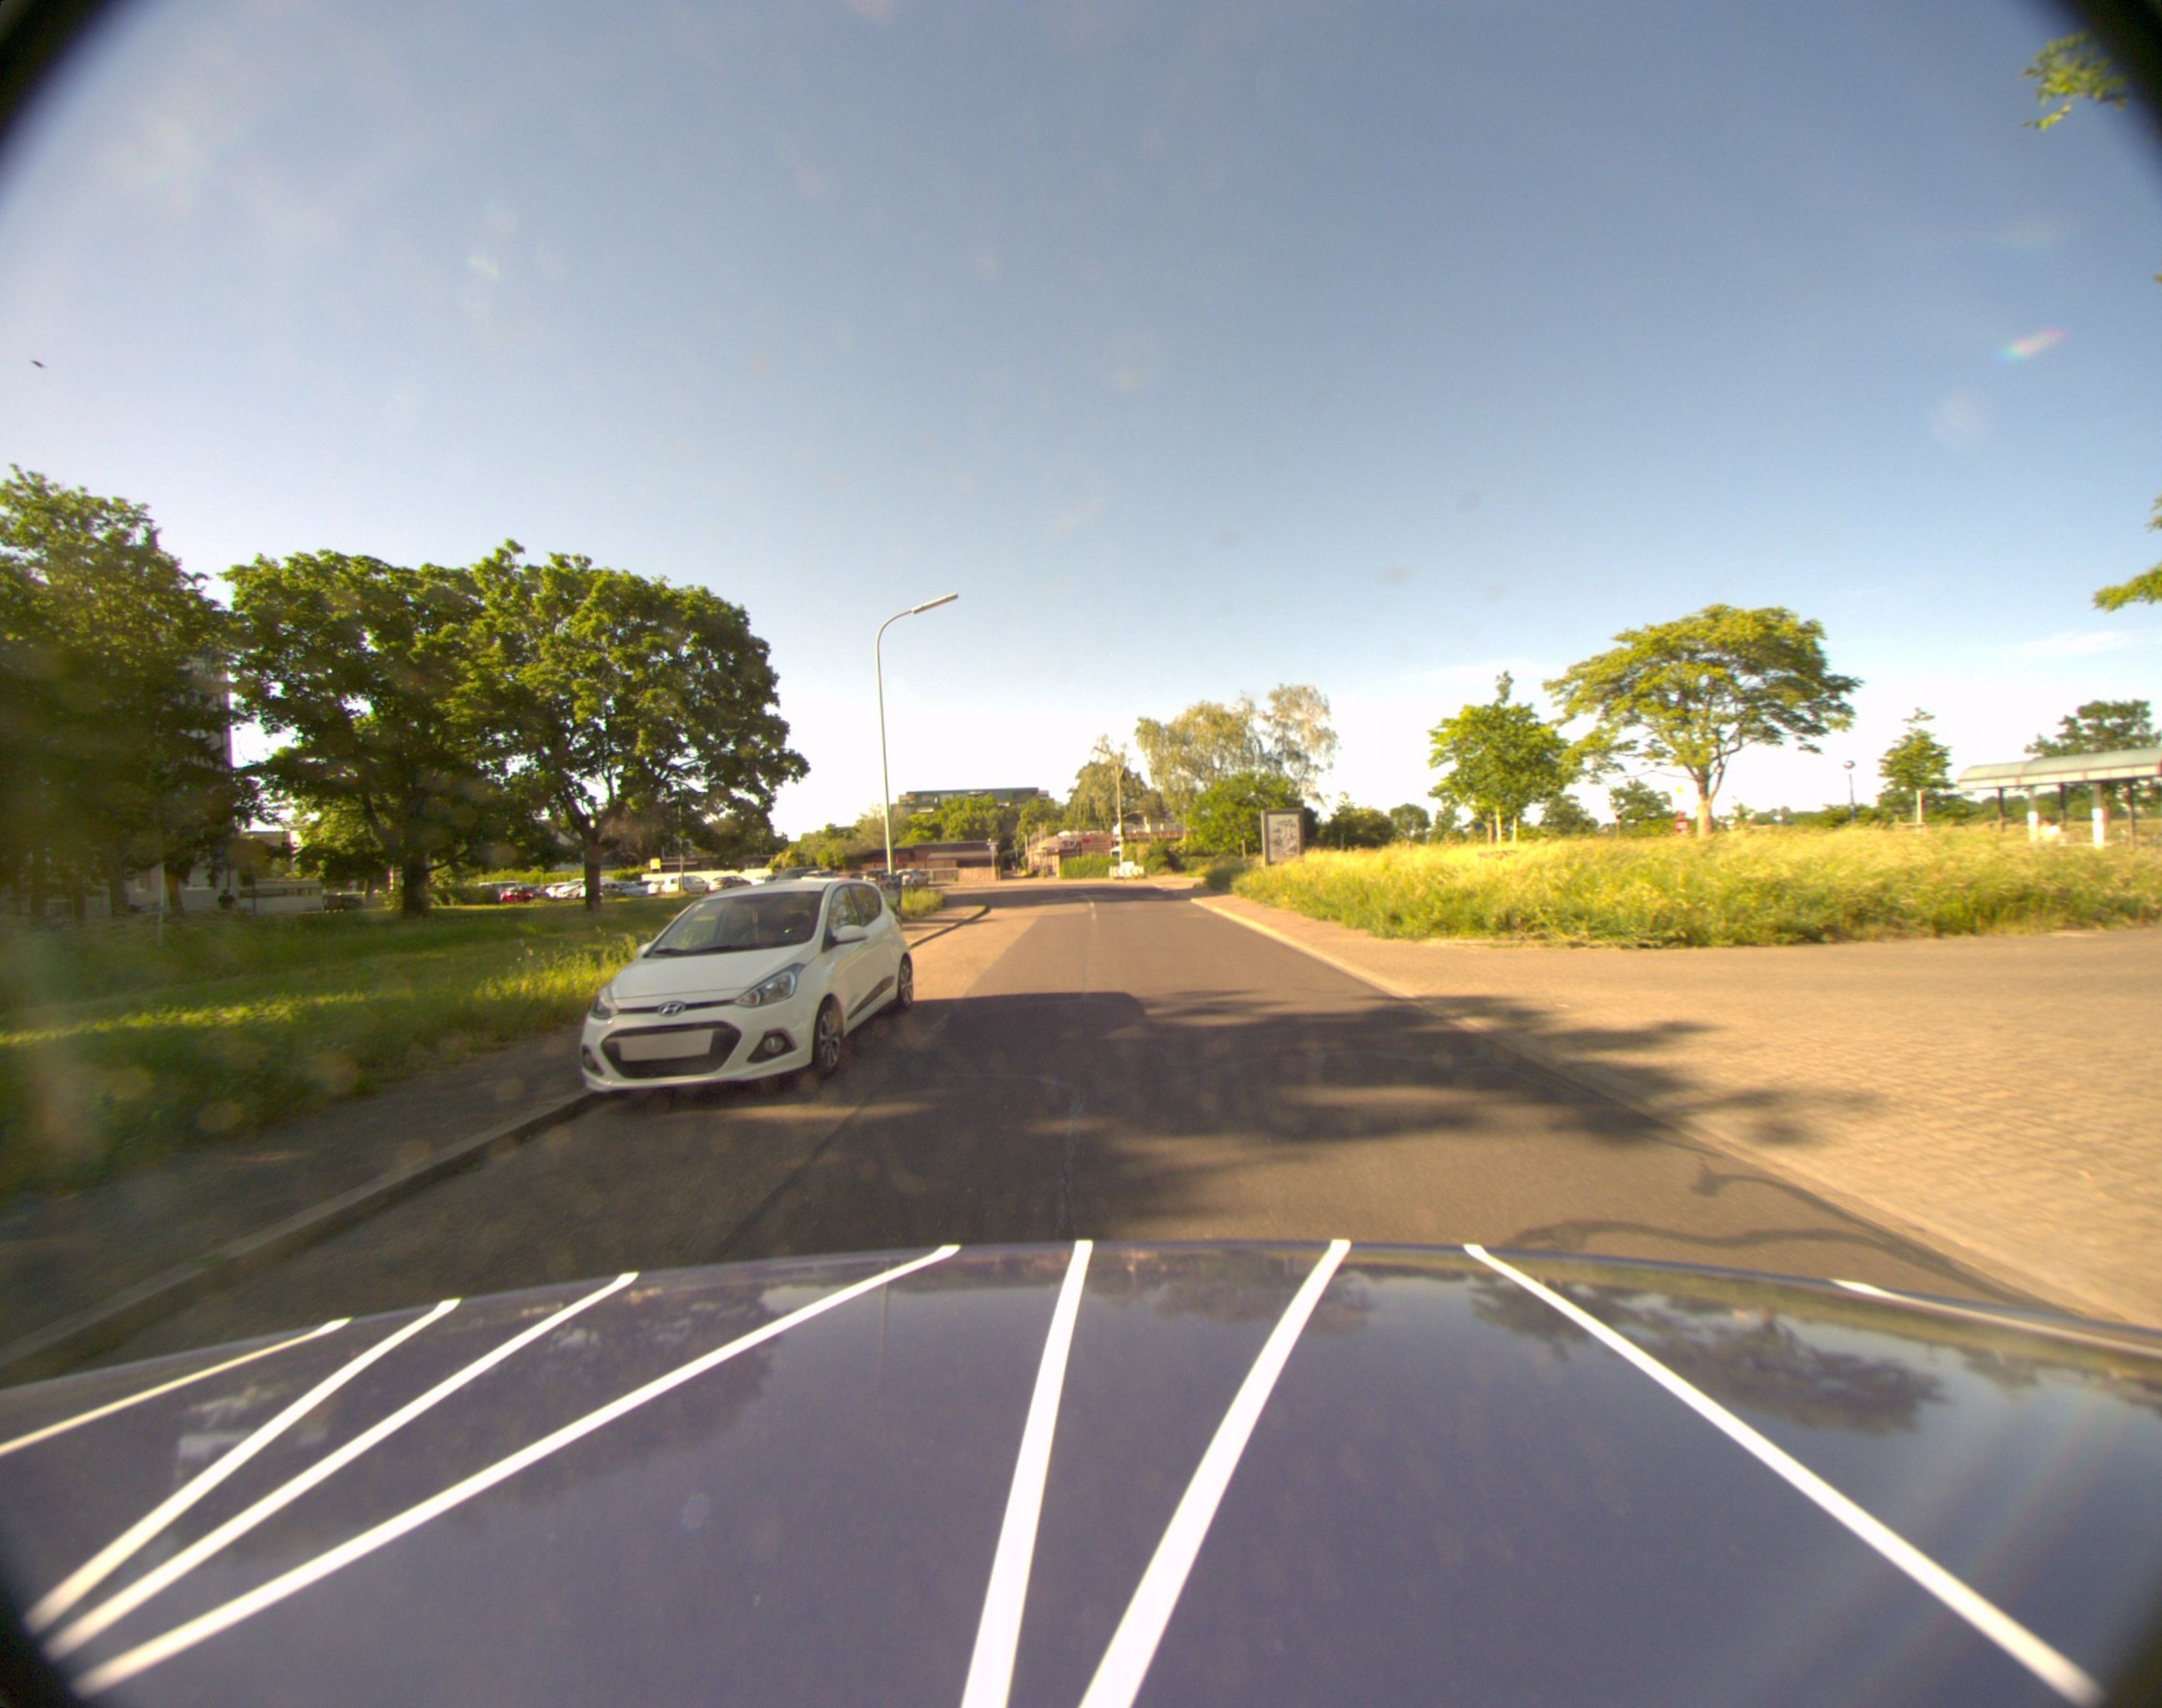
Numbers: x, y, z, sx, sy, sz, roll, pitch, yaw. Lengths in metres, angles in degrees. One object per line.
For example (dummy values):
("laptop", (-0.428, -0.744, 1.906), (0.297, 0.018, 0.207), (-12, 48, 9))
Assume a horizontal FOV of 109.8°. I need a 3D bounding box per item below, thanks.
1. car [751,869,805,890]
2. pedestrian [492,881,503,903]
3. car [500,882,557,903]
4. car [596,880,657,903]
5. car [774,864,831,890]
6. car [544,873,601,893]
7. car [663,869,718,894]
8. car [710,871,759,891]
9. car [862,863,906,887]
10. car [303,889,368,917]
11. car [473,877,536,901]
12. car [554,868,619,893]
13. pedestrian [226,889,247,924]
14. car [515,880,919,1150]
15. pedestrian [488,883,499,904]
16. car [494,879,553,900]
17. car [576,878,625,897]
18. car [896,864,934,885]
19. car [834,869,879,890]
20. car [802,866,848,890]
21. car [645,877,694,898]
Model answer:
("car", (-25.809, 2.171, 64.826), (1.921, 1.484, 4.155), (-2, 2, 19))
("pedestrian", (-42.651, 2.787, 55.541), (0.595, 1.555, 0.484), (-1, -1, 31))
("car", (-42.857, 3.005, 58.960), (3.781, 1.438, 1.582), (-2, 1, 19))
("car", (-33.325, 2.739, 55.688), (3.781, 1.534, 1.739), (-2, 1, 19))
("car", (-23.329, 1.886, 63.784), (1.996, 1.904, 4.892), (-2, 1, 14))
("car", (-48.945, 2.740, 73.201), (1.879, 1.574, 4.005), (-2, 2, 25))
("car", (-34.725, 2.420, 67.647), (1.922, 1.770, 3.993), (-3, 2, 18))
("car", (-30.240, 2.330, 66.370), (1.786, 1.523, 3.830), (-2, 1, 15))
("car", (-15.960, 1.709, 61.813), (1.816, 1.603, 4.002), (-2, 2, 11))
("car", (-48.948, 3.235, 49.880), (3.803, 1.586, 1.736), (-3, 1, 25))
("car", (-57.431, 3.456, 75.826), (1.995, 1.966, 4.499), (-2, 2, 24))
("car", (-46.664, 2.520, 71.841), (2.077, 1.910, 4.809), (-2, 2, 19))
("pedestrian", (-41.193, 2.561, 37.066), (0.534, 1.653, 0.492), (-1, 3, 31))
("car", (-2.739, 1.105, 6.775), (1.726, 1.471, 3.740), (-4, 0, -1))
("pedestrian", (-42.456, 2.828, 54.896), (0.500, 1.494, 0.363), (-1, 0, 18))
("car", (-55.018, 3.478, 75.071), (1.879, 1.696, 4.170), (-2, 2, 23))
("car", (-44.484, 3.084, 70.444), (1.633, 1.438, 3.528), (-2, 2, 17))
("car", (-13.351, 1.628, 61.397), (1.632, 1.450, 3.701), (-2, 1, 11))
("car", (-18.494, 2.084, 62.773), (1.729, 1.337, 3.627), (-2, 2, 18))
("car", (-21.088, 1.961, 62.702), (1.729, 1.598, 3.627), (-2, 2, 18))
("car", (-36.974, 3.001, 68.313), (1.724, 1.481, 3.527), (0, 5, 19))
